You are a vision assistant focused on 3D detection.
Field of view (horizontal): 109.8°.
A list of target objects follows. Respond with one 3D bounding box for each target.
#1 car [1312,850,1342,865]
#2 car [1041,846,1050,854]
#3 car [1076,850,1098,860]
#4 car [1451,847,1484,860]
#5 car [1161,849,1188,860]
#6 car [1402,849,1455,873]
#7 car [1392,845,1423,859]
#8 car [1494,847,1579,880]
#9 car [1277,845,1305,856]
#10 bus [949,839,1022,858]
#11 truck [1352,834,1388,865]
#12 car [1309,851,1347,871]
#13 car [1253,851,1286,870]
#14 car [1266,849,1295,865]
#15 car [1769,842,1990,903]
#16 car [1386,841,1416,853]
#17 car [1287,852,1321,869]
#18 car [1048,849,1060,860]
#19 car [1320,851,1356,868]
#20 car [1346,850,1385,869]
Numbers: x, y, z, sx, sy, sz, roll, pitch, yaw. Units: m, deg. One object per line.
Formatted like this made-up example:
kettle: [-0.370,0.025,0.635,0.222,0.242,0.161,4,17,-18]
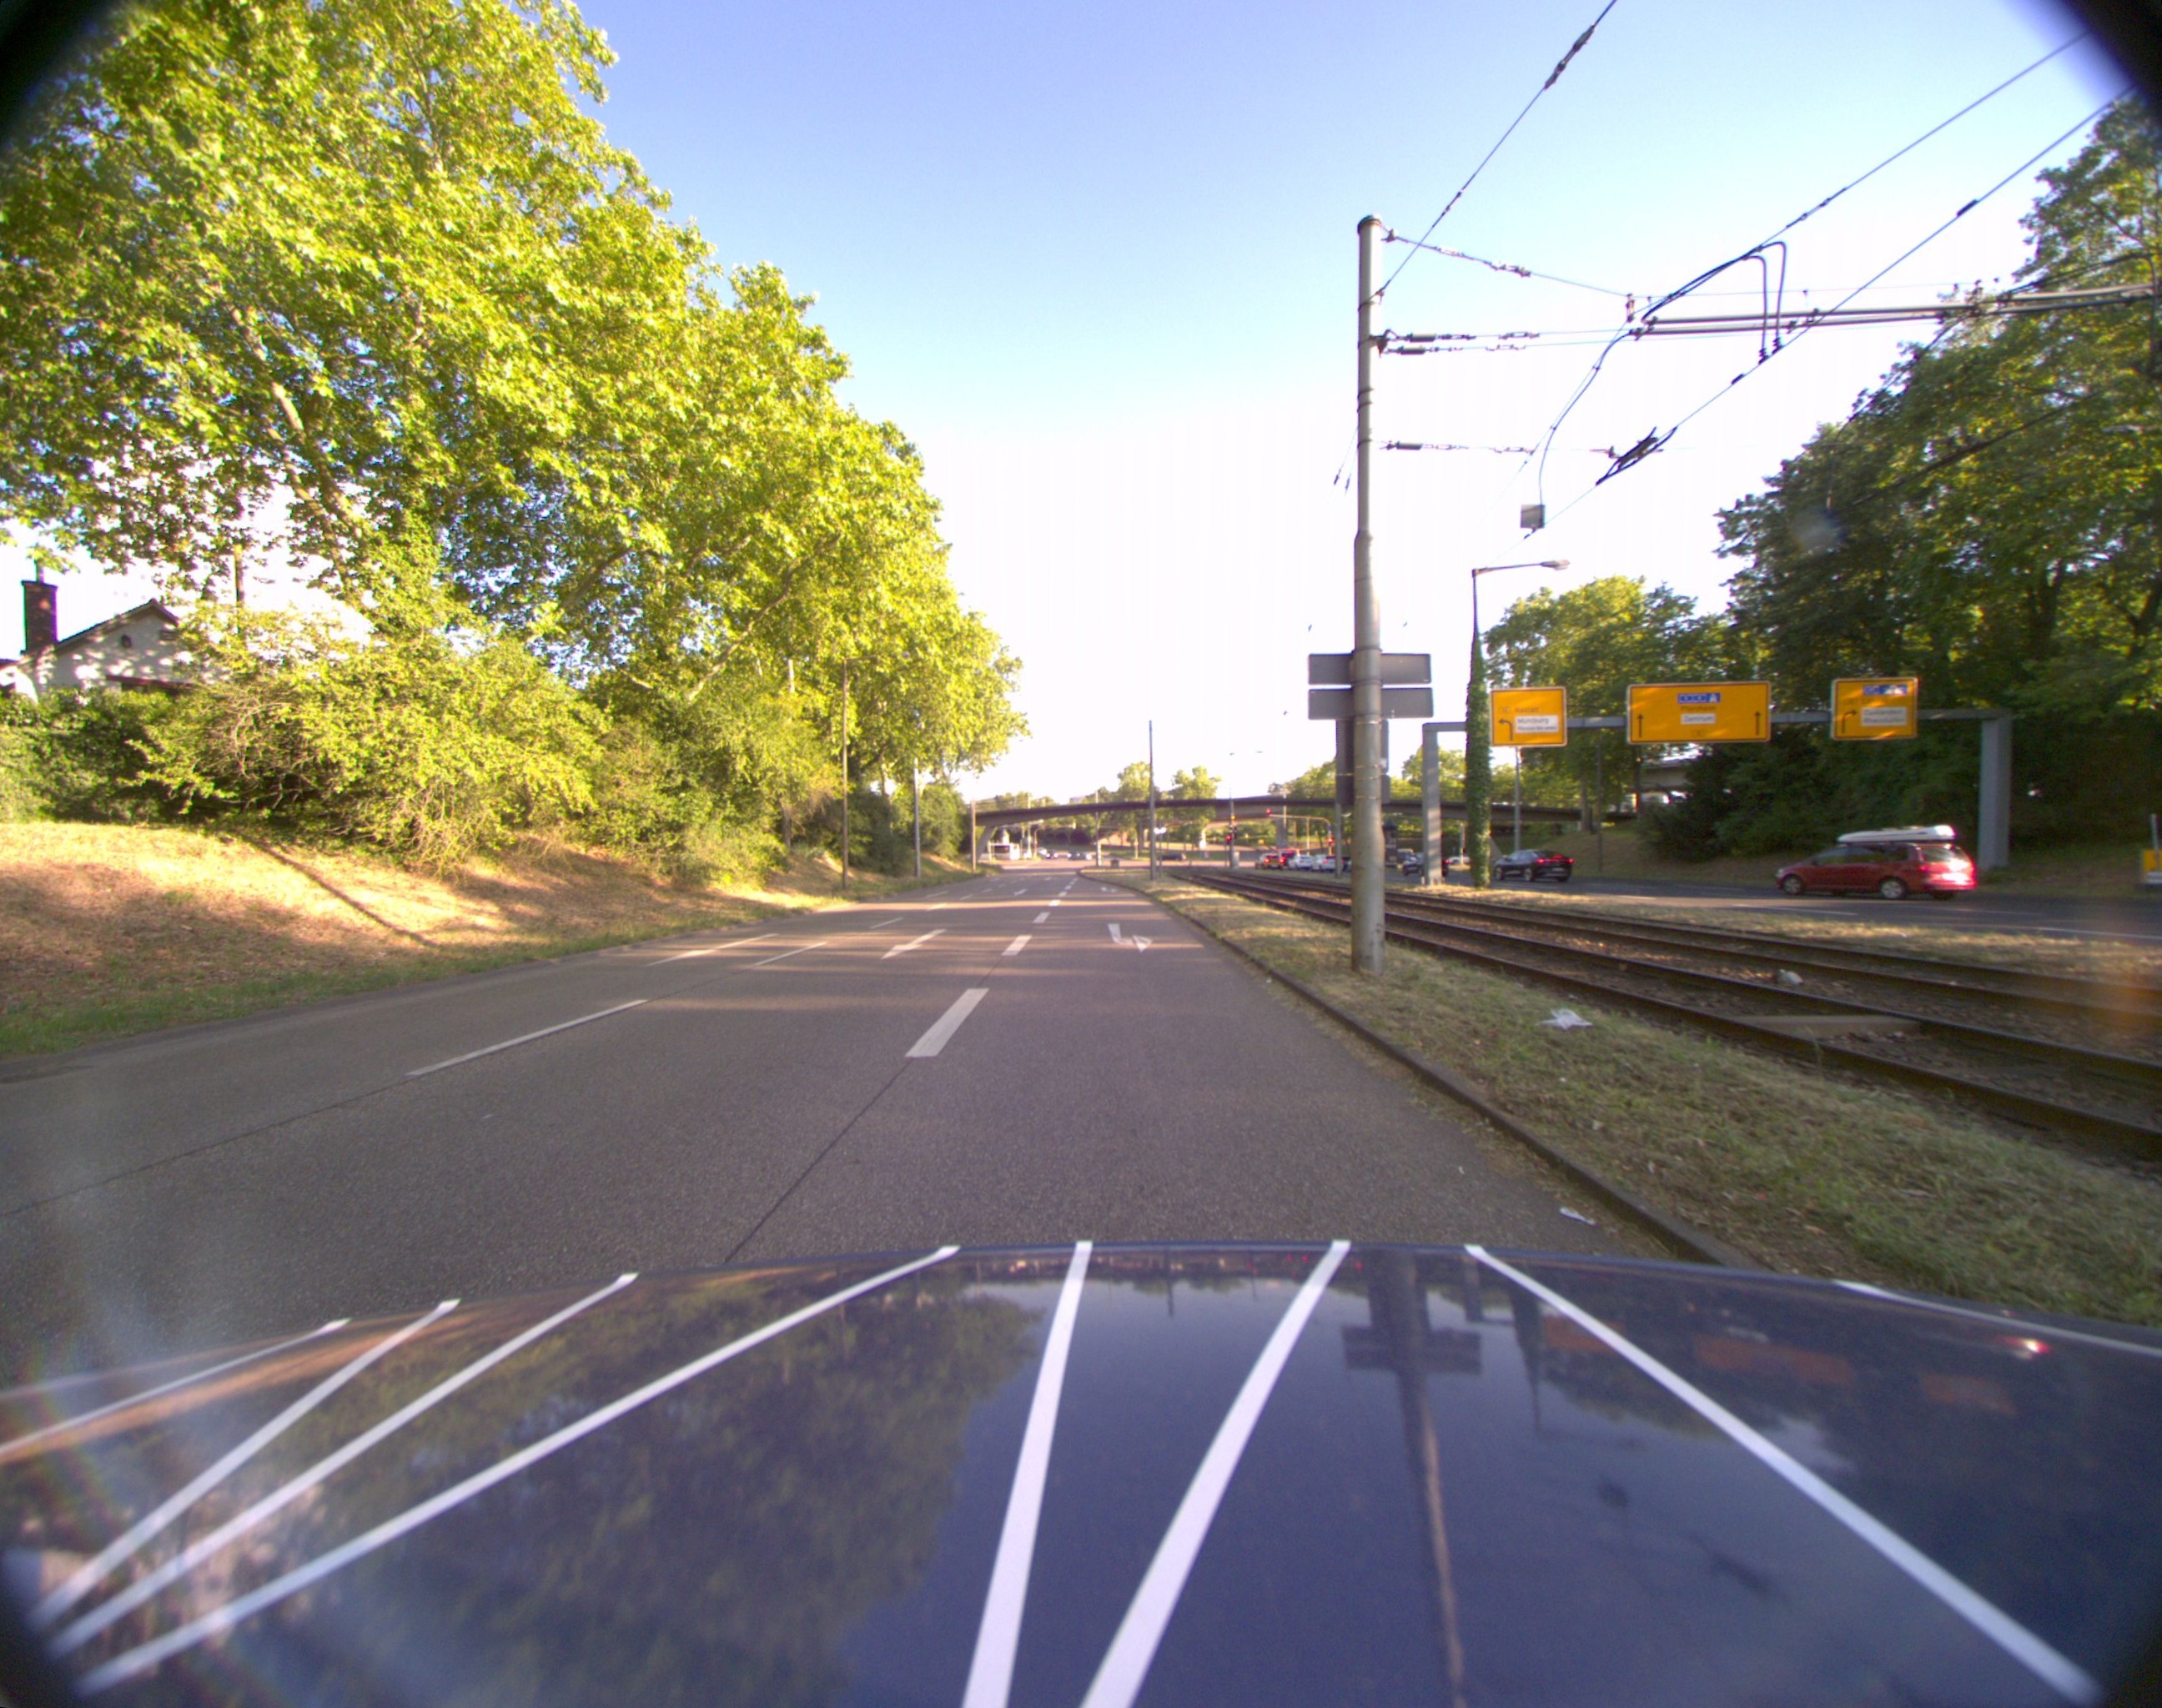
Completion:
car: [24.941,0.370,77.171,1.917,1.416,4.228,-1,0,5]
car: [-8.032,-0.875,170.401,1.684,1.779,3.868,-2,0,-8]
car: [1.026,0.192,126.356,3.364,1.560,1.613,-2,0,17]
car: [51.867,-0.099,101.914,3.804,1.570,1.679,-2,1,24]
car: [14.811,0.071,120.811,3.868,1.655,1.814,-2,1,21]
car: [22.977,0.448,50.393,1.755,1.548,3.973,0,0,1]
car: [44.916,-0.262,104.503,3.805,1.848,1.679,-2,1,20]
car: [22.710,0.442,38.072,1.735,1.536,4.334,-1,0,1]
car: [31.776,-0.551,115.125,3.868,1.403,1.814,-2,1,20]
bus: [-16.835,-0.982,133.712,13.163,2.846,2.420,-2,1,22]
truck: [28.375,-0.440,74.803,2.281,2.862,6.886,-1,0,13]
car: [20.021,0.540,61.808,1.767,1.535,4.000,-1,0,0]
car: [16.141,0.505,65.238,1.767,1.535,4.000,-1,0,0]
car: [19.574,0.262,74.744,1.917,1.540,4.227,-1,0,4]
car: [23.528,0.477,22.676,1.843,1.625,4.309,0,0,-5]
car: [45.908,-0.973,109.084,3.785,1.491,1.766,-2,1,18]
car: [19.909,0.542,68.087,1.918,1.416,4.227,-1,0,2]
car: [-4.912,0.075,139.204,1.960,1.779,3.998,-2,0,-5]
car: [23.731,0.496,70.212,1.868,1.416,4.226,-1,0,0]
car: [23.961,0.447,64.076,1.813,1.535,4.000,-1,0,1]
